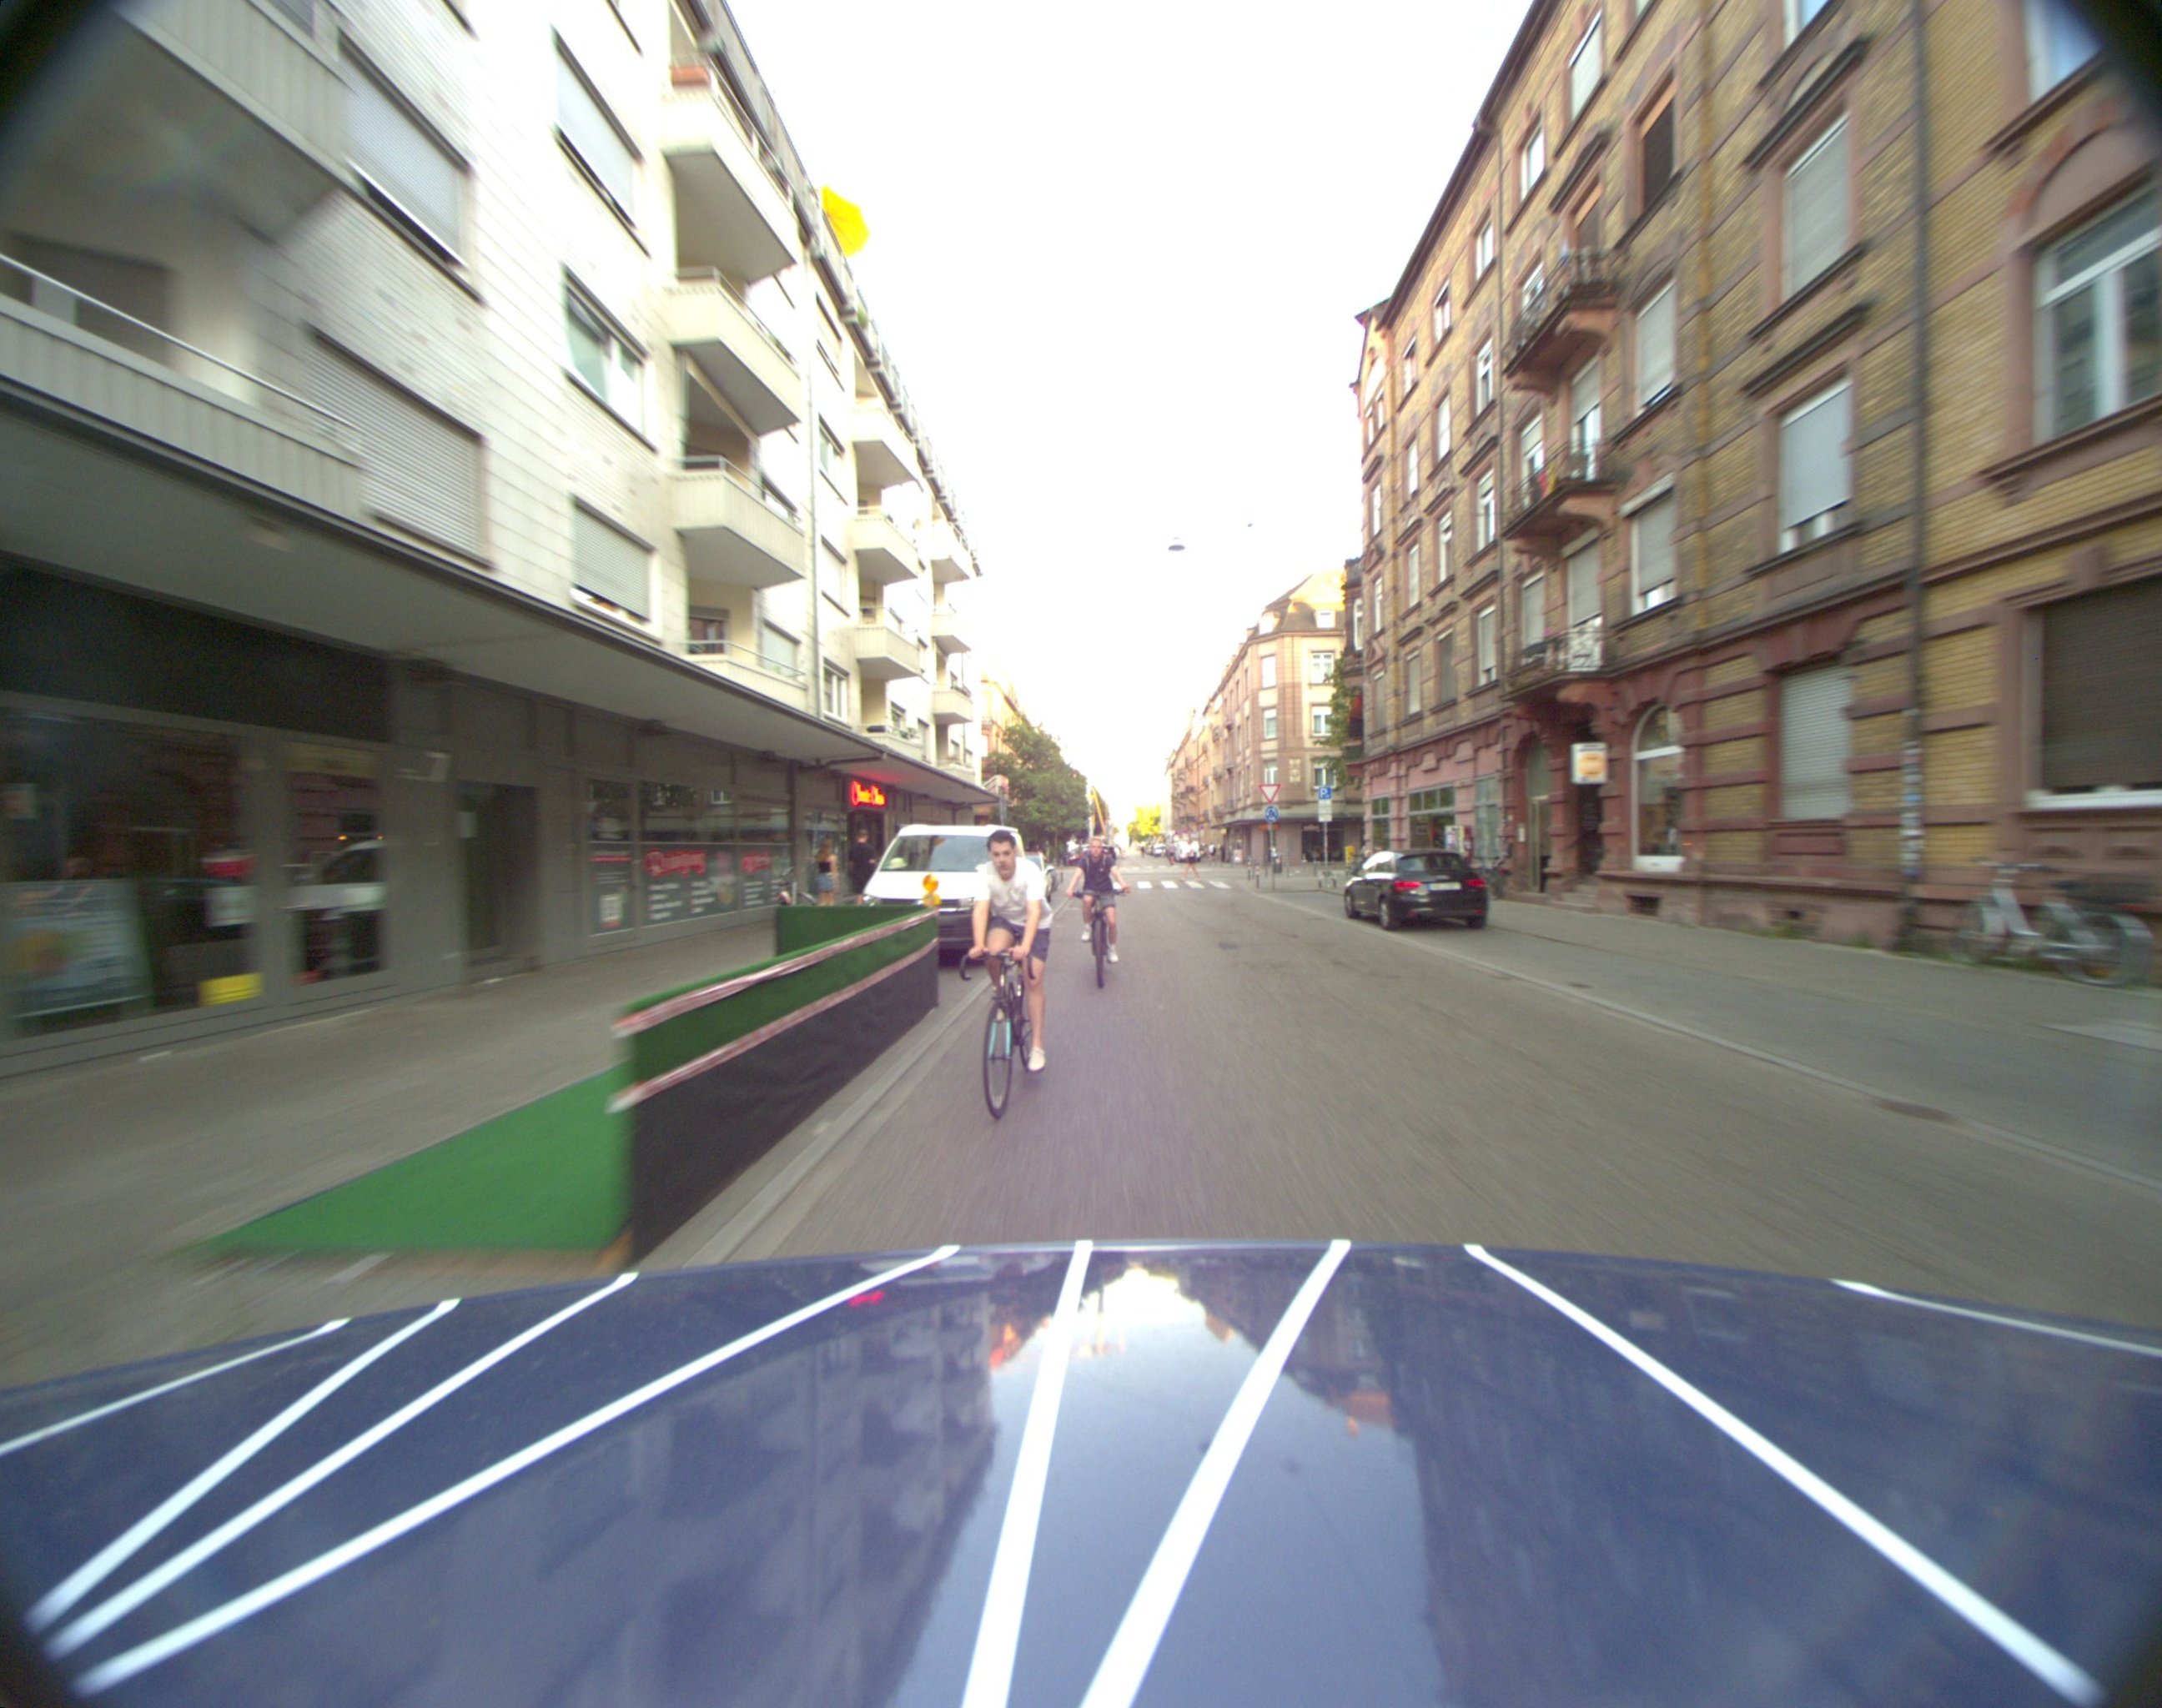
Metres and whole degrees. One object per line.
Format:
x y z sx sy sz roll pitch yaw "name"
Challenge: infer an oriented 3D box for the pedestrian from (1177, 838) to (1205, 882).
4.639 0.246 31.960 1.047 1.800 0.757 -2 -1 14 "pedestrian"

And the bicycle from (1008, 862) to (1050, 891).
-1.912 0.830 28.004 1.481 0.996 0.511 1 2 10 "bicycle"

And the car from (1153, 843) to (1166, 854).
13.088 -0.955 126.776 1.997 1.729 4.000 -2 2 6 "car"

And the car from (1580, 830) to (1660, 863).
31.626 -0.470 44.737 1.998 1.828 3.999 0 2 3 "car"

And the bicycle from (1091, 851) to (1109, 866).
1.579 0.356 63.630 0.666 1.162 2.111 0 1 -24 "bicycle"

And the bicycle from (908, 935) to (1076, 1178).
-0.475 1.174 4.957 0.657 1.012 1.918 -2 2 6 "bicycle"

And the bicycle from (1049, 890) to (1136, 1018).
0.196 1.047 8.696 0.793 1.133 2.344 -2 0 5 "bicycle"

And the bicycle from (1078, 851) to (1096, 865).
0.476 0.358 62.874 0.666 1.125 2.111 0 1 -24 "bicycle"

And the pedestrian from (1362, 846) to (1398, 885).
10.045 0.394 25.553 0.650 1.247 0.907 -5 1 -12 "pedestrian"

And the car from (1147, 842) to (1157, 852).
14.269 -1.454 152.611 1.907 1.729 3.850 -2 2 6 "car"

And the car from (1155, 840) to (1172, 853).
12.158 -1.097 112.298 2.140 1.811 4.541 -2 1 4 "car"

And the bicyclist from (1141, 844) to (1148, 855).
9.315 -0.700 111.307 0.754 1.631 1.201 -2 0 -3 "bicyclist"

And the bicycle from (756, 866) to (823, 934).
-5.635 0.860 14.800 0.913 1.189 1.709 1 2 -10 "bicycle"

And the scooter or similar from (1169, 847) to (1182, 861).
7.810 0.004 62.843 0.809 1.098 1.171 -1 1 -5 "scooter or similar"

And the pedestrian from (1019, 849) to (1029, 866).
-4.515 0.292 60.316 0.641 1.265 0.674 -3 2 -11 "pedestrian"

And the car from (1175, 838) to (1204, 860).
10.196 -0.516 71.778 2.141 1.947 4.769 -2 1 2 "car"

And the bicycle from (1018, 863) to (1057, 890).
-1.631 0.822 28.453 1.421 0.978 0.510 0 2 0 "bicycle"

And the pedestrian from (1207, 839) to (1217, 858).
12.139 -0.506 70.400 0.748 1.734 1.214 -2 1 11 "pedestrian"

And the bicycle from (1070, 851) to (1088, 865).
-0.137 0.341 62.548 0.666 1.125 2.111 0 1 -24 "bicycle"

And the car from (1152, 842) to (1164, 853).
13.367 -1.093 131.621 1.997 1.729 4.000 -2 2 6 "car"

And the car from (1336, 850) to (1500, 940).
6.198 0.675 14.458 1.697 1.412 3.856 -2 0 6 "car"

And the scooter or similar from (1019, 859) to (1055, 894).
-1.477 0.756 25.795 0.535 1.164 1.166 -1 -1 43 "scooter or similar"

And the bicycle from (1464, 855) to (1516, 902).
9.948 0.577 18.548 0.426 1.047 1.899 -2 1 7 "bicycle"

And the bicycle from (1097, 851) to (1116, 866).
2.138 0.362 63.473 0.666 1.162 2.111 0 1 -24 "bicycle"

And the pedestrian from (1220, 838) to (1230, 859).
12.084 -0.460 63.790 0.654 1.768 0.693 -2 0 21 "pedestrian"

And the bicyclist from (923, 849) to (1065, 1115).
-0.511 0.739 4.825 0.650 1.500 0.953 -2 2 6 "bicyclist"

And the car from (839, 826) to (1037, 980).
-1.995 0.612 12.296 1.963 1.962 5.003 1 1 4 "car"

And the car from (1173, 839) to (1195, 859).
10.555 -0.540 77.910 1.879 1.893 4.327 -2 1 4 "car"

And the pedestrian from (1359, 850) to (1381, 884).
10.123 0.434 26.603 0.504 1.137 0.791 -2 2 5 "pedestrian"

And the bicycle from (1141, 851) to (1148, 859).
9.344 0.176 111.316 0.754 1.124 1.975 -2 0 -3 "bicycle"

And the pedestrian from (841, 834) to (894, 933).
-4.041 0.532 14.439 0.710 1.818 0.860 0 2 3 "pedestrian"

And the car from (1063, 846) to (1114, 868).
0.648 0.220 65.981 4.005 1.659 1.823 -3 2 -28 "car"

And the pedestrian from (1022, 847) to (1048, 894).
-1.560 0.549 25.868 0.649 1.591 0.590 -1 2 -37 "pedestrian"

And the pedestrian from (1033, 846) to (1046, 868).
-3.038 0.208 55.190 0.537 1.598 0.870 0 0 30 "pedestrian"

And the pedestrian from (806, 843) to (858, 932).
-4.809 0.625 14.706 0.710 1.656 0.744 0 2 3 "pedestrian"

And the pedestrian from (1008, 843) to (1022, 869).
-4.830 0.121 55.837 0.673 1.858 0.911 -1 2 17 "pedestrian"

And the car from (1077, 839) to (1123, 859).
2.381 -0.658 94.572 5.151 2.182 2.334 -3 2 -22 "car"

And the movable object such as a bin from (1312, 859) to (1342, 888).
8.280 0.663 25.605 0.763 0.910 0.729 -2 2 0 "movable object such as a bin"

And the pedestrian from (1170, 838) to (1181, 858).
7.804 -0.485 62.829 0.809 1.650 0.672 -1 1 -5 "pedestrian"

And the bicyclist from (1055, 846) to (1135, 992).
0.182 0.709 8.696 0.793 1.562 0.826 -2 1 5 "bicyclist"

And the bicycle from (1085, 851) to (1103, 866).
1.068 0.367 63.188 0.666 1.125 2.111 0 1 -24 "bicycle"

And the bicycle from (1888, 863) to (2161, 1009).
9.197 0.711 7.451 0.528 1.164 2.048 -3 0 6 "bicycle"

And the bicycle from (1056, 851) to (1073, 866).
-1.355 0.334 62.014 0.666 1.158 2.111 0 1 -24 "bicycle"

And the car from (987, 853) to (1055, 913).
-1.618 0.742 21.385 1.596 1.492 3.423 0 1 1 "car"
